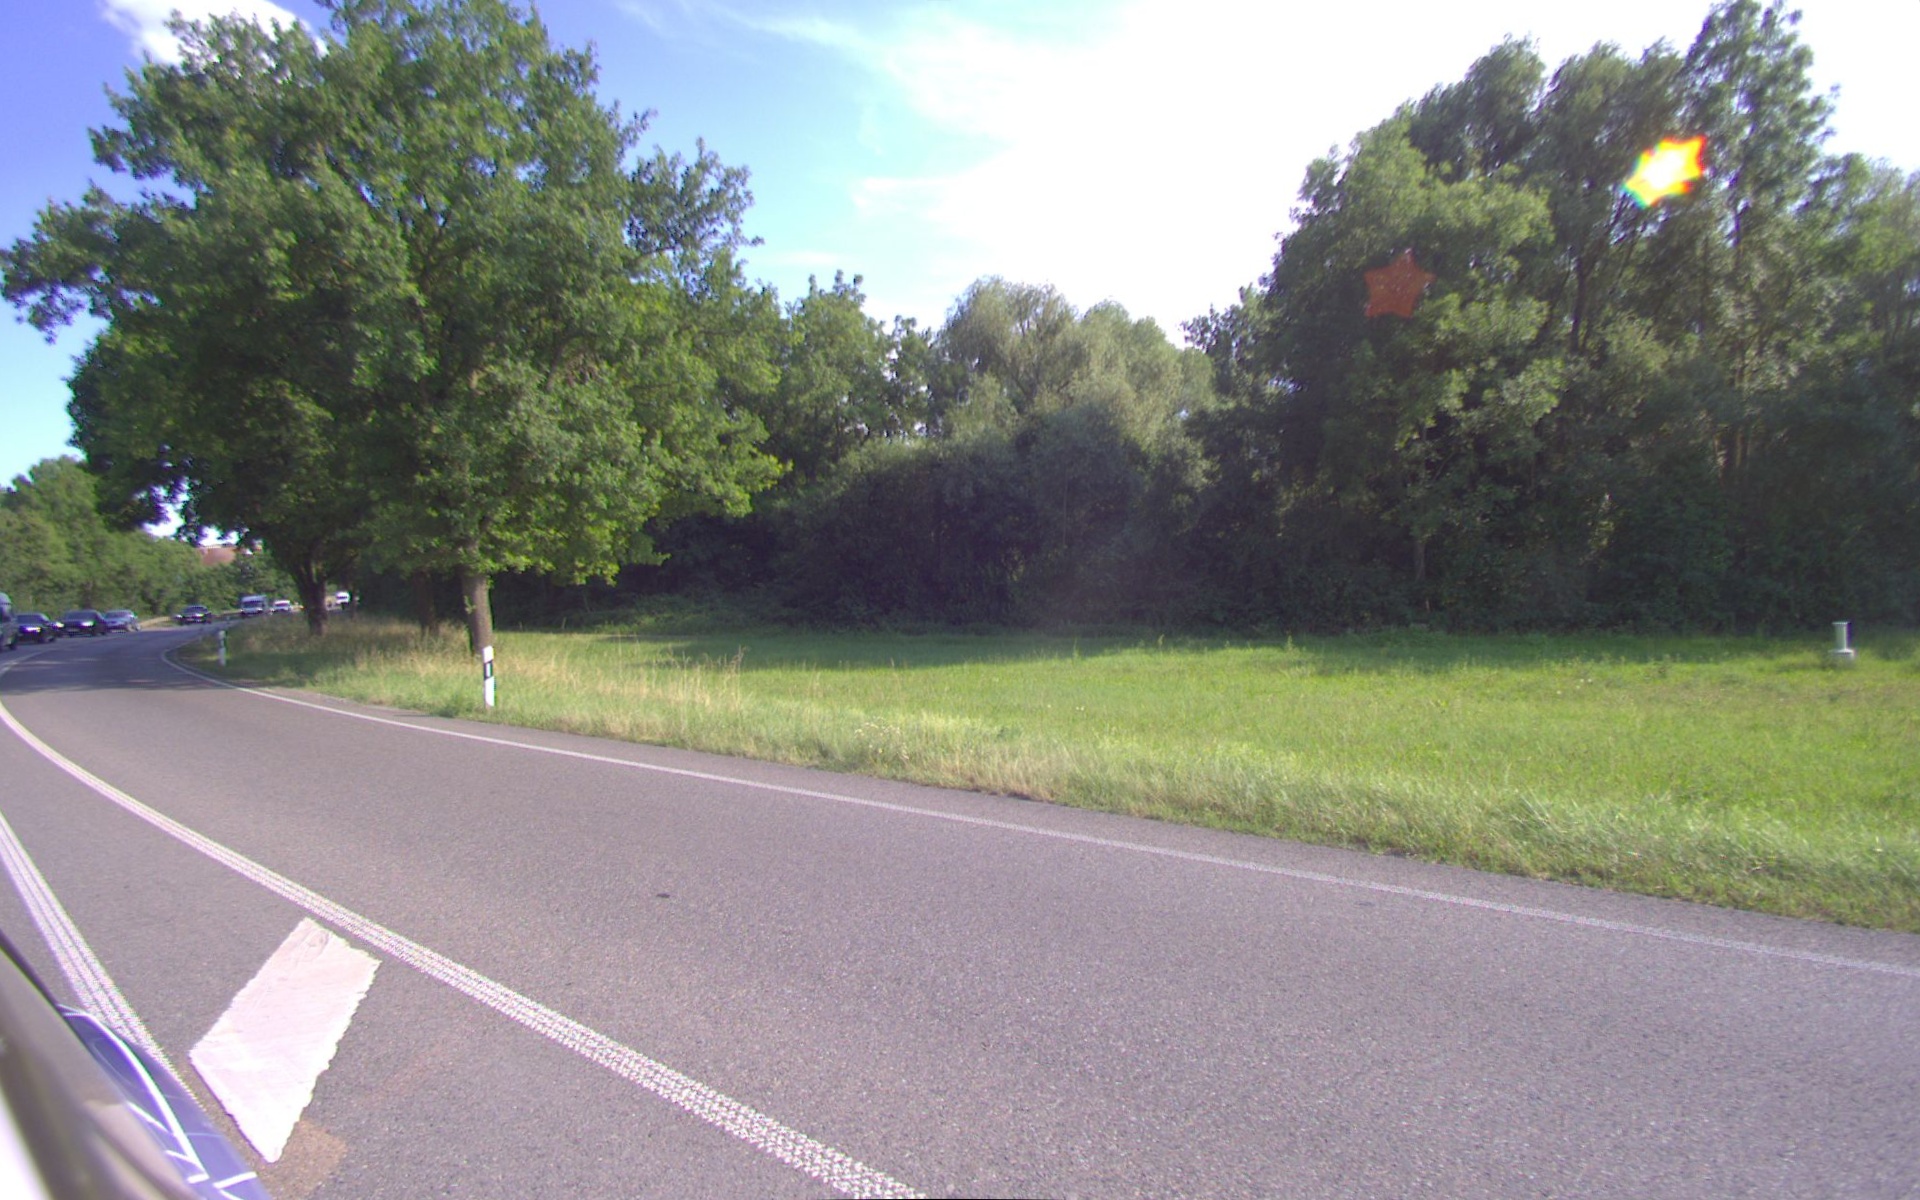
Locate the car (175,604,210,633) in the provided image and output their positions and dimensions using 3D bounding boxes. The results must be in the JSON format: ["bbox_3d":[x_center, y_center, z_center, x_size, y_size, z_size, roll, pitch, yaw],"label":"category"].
[{"bbox_3d":[-66.828,1.583,88.181,2.055,2.435,5.156,-1,1,-34],"label":"car"}]

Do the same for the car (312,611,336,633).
[{"bbox_3d":[-74.181,2.528,118.095,2.054,2.435,5.158,-1,1,-29],"label":"car"}]

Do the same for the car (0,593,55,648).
[{"bbox_3d":[-44.370,0.925,47.487,2.055,2.435,5.156,-1,1,-34],"label":"car"}]

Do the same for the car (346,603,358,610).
[{"bbox_3d":[-136.148,1.445,226.607,1.863,1.643,4.265,-1,1,-25],"label":"car"}]

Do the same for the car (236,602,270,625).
[{"bbox_3d":[-80.392,1.507,115.074,2.054,2.435,5.159,-1,1,-22],"label":"car"}]

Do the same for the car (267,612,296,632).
[{"bbox_3d":[-87.448,2.792,130.493,2.054,2.435,5.159,-1,1,-22],"label":"car"}]

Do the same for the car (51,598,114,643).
[{"bbox_3d":[-50.179,1.107,57.986,2.055,2.435,5.156,-1,1,-34],"label":"car"}]

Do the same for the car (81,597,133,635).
[{"bbox_3d":[-56.991,1.035,67.676,2.055,2.435,5.156,-1,1,-34],"label":"car"}]

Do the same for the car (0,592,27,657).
[{"bbox_3d":[-37.674,0.954,38.560,2.054,2.435,5.157,-1,1,-31],"label":"car"}]

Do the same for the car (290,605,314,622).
[{"bbox_3d":[-99.521,2.069,153.027,2.054,2.435,5.159,-1,1,-22],"label":"car"}]
